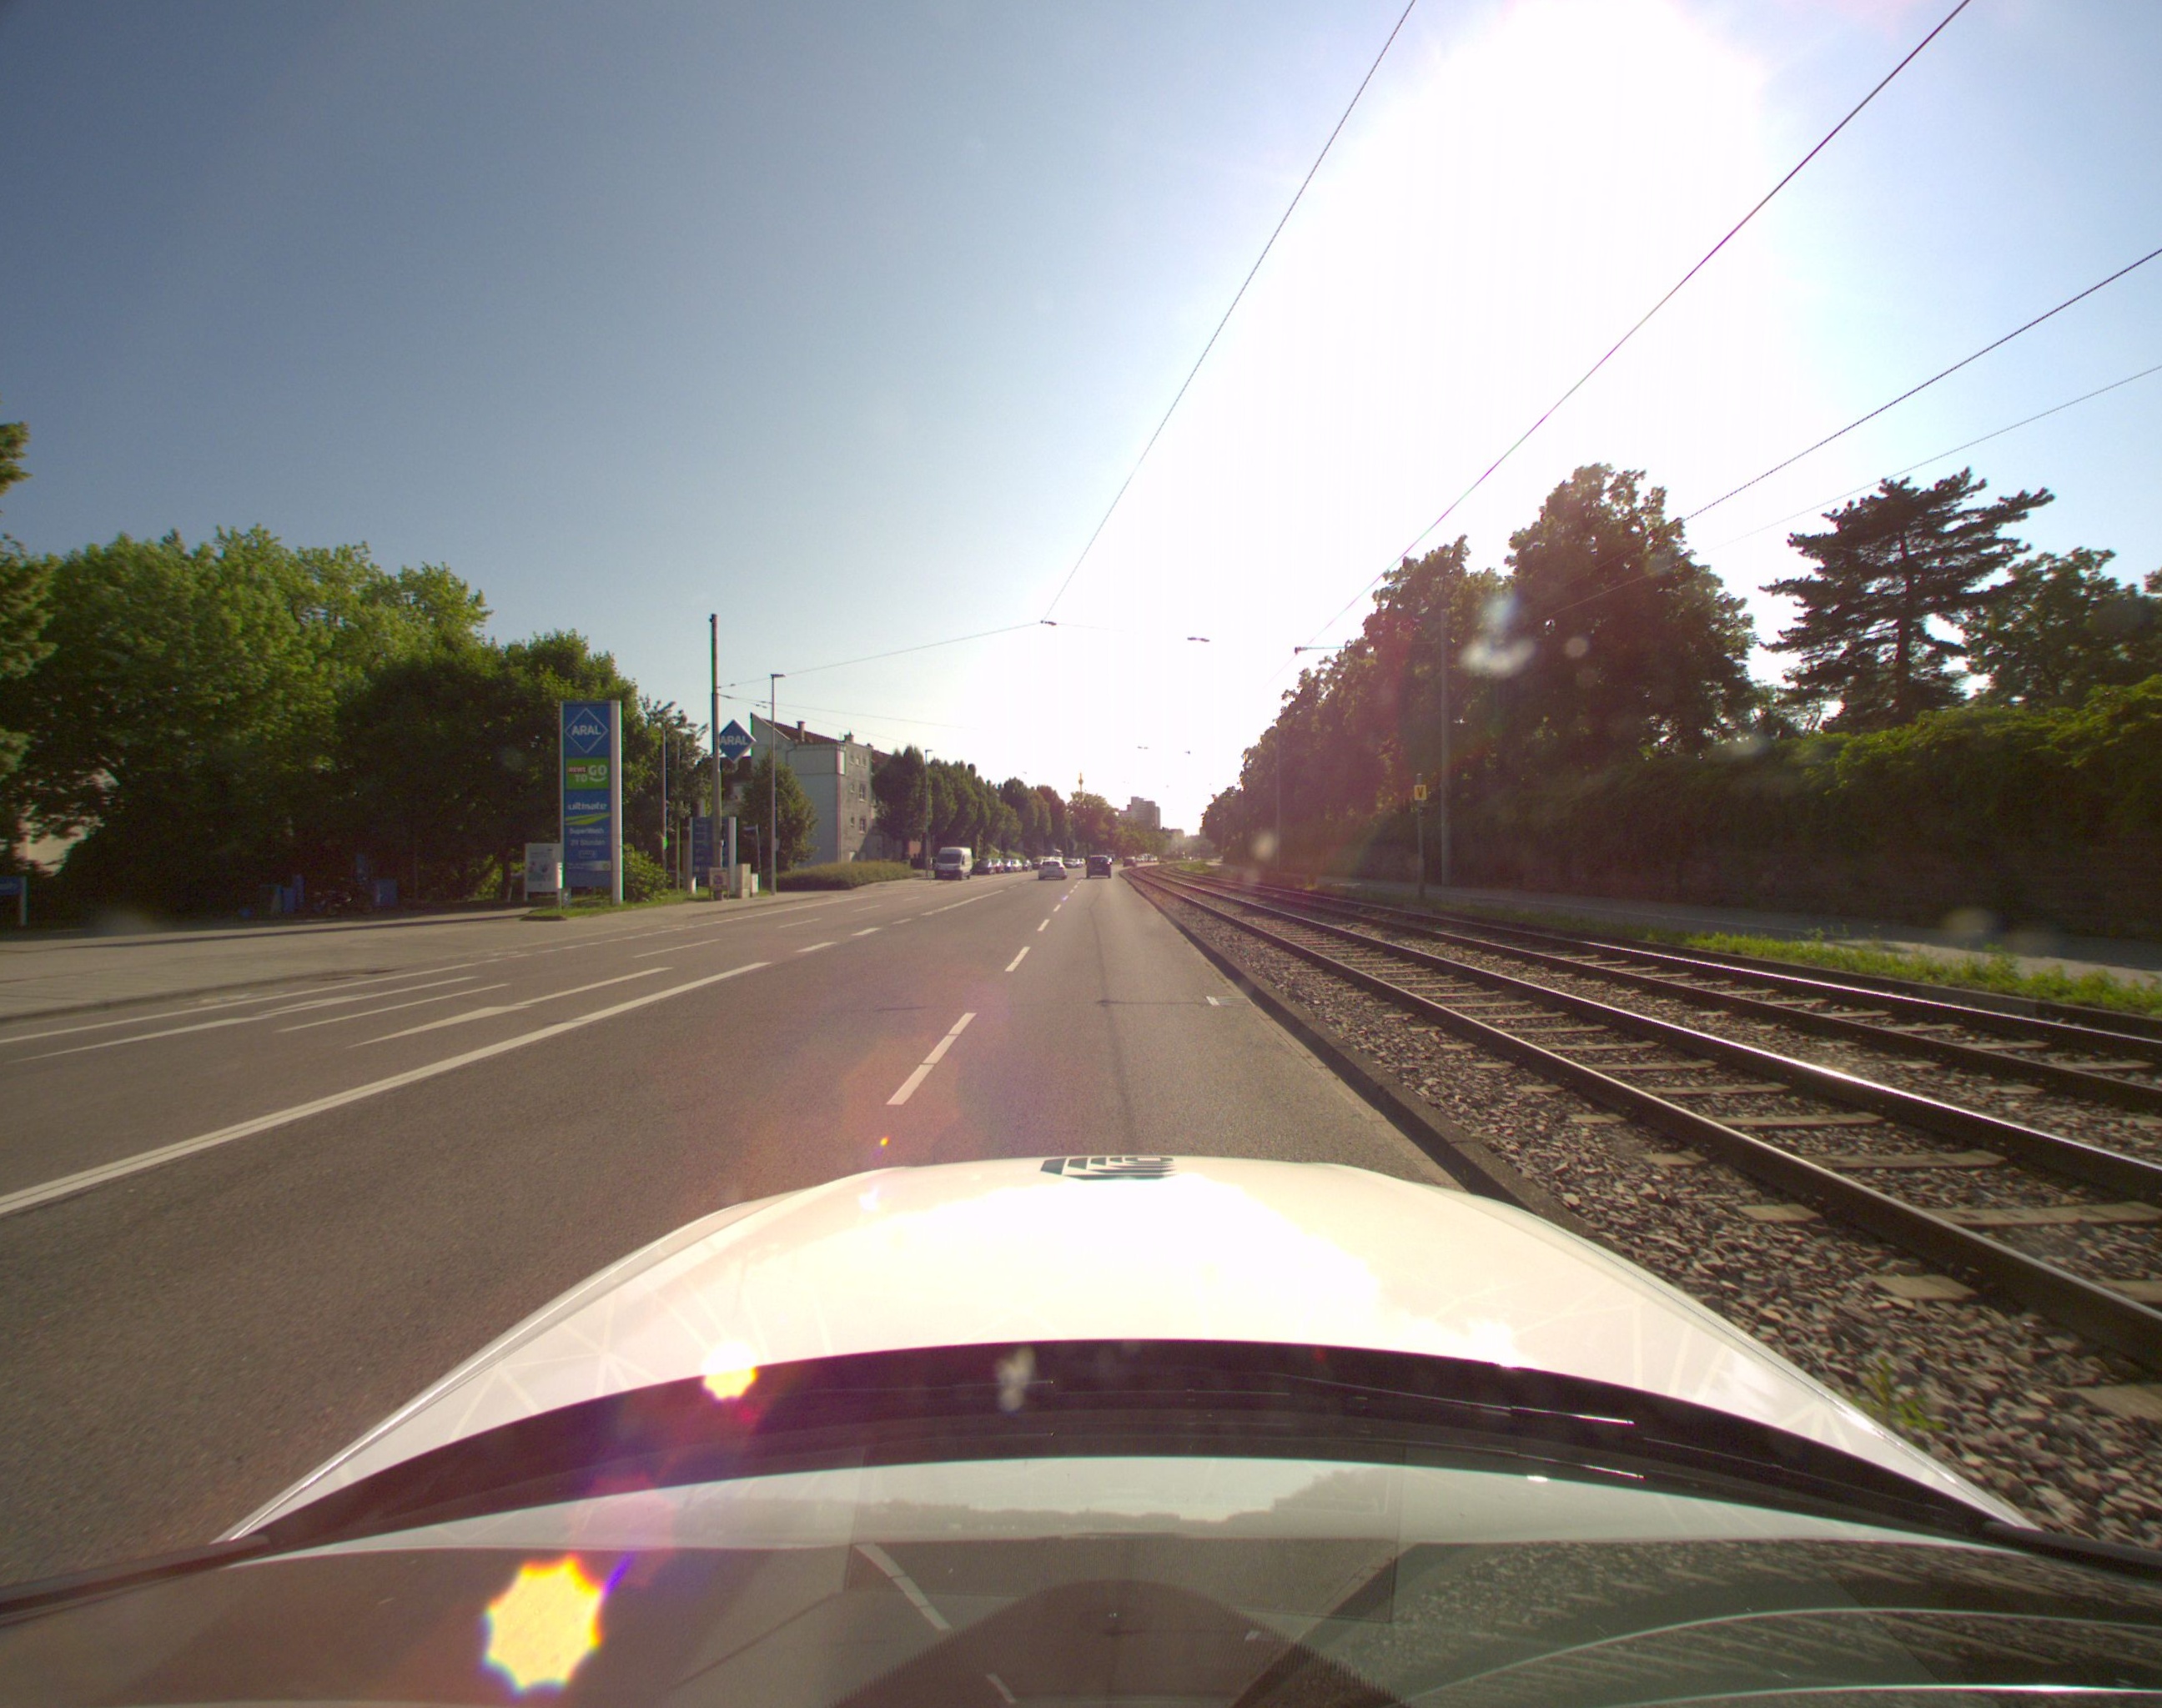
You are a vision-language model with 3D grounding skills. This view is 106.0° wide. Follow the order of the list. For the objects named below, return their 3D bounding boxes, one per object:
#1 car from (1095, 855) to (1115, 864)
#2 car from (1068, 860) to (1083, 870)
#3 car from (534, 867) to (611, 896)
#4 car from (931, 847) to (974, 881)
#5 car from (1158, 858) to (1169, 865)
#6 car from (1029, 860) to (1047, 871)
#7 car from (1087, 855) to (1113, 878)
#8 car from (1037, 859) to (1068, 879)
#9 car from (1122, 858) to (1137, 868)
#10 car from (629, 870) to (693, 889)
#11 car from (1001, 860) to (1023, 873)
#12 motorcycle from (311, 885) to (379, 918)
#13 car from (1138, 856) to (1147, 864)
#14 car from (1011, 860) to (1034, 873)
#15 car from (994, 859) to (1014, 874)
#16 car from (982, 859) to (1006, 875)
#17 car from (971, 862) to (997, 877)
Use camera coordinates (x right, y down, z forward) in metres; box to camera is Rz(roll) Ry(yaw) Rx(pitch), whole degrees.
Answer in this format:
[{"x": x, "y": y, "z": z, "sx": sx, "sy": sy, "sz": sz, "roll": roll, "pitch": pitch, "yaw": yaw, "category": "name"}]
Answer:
[{"x": 6.977, "y": 1.669, "z": 237.302, "sx": 5.341, "sy": 2.424, "sz": 2.093, "roll": -1, "pitch": -1, "yaw": 10, "category": "car"}, {"x": -0.935, "y": 1.790, "z": 138.286, "sx": 1.752, "sy": 1.539, "sz": 3.993, "roll": 4, "pitch": 0, "yaw": 11, "category": "car"}, {"x": -31.244, "y": 1.689, "z": 50.051, "sx": 3.957, "sy": 1.697, "sz": 1.780, "roll": -1, "pitch": -3, "yaw": 15, "category": "car"}, {"x": -9.940, "y": 0.727, "z": 63.477, "sx": 2.145, "sy": 2.457, "sz": 6.184, "roll": 2, "pitch": 0, "yaw": 1, "category": "car"}, {"x": 18.894, "y": 1.711, "z": 186.515, "sx": 1.799, "sy": 1.449, "sz": 4.014, "roll": 1, "pitch": 0, "yaw": 13, "category": "car"}, {"x": -5.914, "y": 1.556, "z": 112.144, "sx": 1.607, "sy": 1.466, "sz": 4.067, "roll": 1, "pitch": 0, "yaw": 8, "category": "car"}, {"x": 1.416, "y": 0.907, "z": 59.980, "sx": 1.805, "sy": 1.645, "sz": 4.001, "roll": 0, "pitch": -1, "yaw": 1, "category": "car"}, {"x": -1.917, "y": 1.022, "z": 56.201, "sx": 1.858, "sy": 1.348, "sz": 4.001, "roll": 0, "pitch": 0, "yaw": 1, "category": "car"}, {"x": 7.381, "y": 1.338, "z": 123.515, "sx": 1.800, "sy": 1.449, "sz": 4.010, "roll": 1, "pitch": 0, "yaw": 9, "category": "car"}, {"x": -29.717, "y": 1.811, "z": 57.632, "sx": 3.756, "sy": 1.268, "sz": 1.751, "roll": -1, "pitch": -1, "yaw": 14, "category": "car"}, {"x": -8.002, "y": 1.485, "z": 94.997, "sx": 1.704, "sy": 1.471, "sz": 4.851, "roll": 1, "pitch": -1, "yaw": 5, "category": "car"}, {"x": -24.578, "y": 1.571, "z": 27.235, "sx": 0.515, "sy": 0.982, "sz": 1.905, "roll": -1, "pitch": 0, "yaw": 1, "category": "motorcycle"}, {"x": 18.238, "y": 1.824, "z": 242.217, "sx": 1.851, "sy": 2.348, "sz": 5.001, "roll": -1, "pitch": -1, "yaw": 12, "category": "car"}, {"x": -7.198, "y": 1.504, "z": 100.841, "sx": 1.856, "sy": 1.544, "sz": 4.919, "roll": 2, "pitch": 0, "yaw": 7, "category": "car"}, {"x": -8.417, "y": 1.376, "z": 89.639, "sx": 1.756, "sy": 1.574, "sz": 4.437, "roll": 1, "pitch": -1, "yaw": 0, "category": "car"}, {"x": -8.969, "y": 1.370, "z": 83.868, "sx": 1.755, "sy": 1.574, "sz": 4.165, "roll": 0, "pitch": -1, "yaw": 4, "category": "car"}, {"x": -9.299, "y": 1.459, "z": 78.252, "sx": 1.645, "sy": 1.424, "sz": 4.717, "roll": -1, "pitch": 0, "yaw": 3, "category": "car"}]
